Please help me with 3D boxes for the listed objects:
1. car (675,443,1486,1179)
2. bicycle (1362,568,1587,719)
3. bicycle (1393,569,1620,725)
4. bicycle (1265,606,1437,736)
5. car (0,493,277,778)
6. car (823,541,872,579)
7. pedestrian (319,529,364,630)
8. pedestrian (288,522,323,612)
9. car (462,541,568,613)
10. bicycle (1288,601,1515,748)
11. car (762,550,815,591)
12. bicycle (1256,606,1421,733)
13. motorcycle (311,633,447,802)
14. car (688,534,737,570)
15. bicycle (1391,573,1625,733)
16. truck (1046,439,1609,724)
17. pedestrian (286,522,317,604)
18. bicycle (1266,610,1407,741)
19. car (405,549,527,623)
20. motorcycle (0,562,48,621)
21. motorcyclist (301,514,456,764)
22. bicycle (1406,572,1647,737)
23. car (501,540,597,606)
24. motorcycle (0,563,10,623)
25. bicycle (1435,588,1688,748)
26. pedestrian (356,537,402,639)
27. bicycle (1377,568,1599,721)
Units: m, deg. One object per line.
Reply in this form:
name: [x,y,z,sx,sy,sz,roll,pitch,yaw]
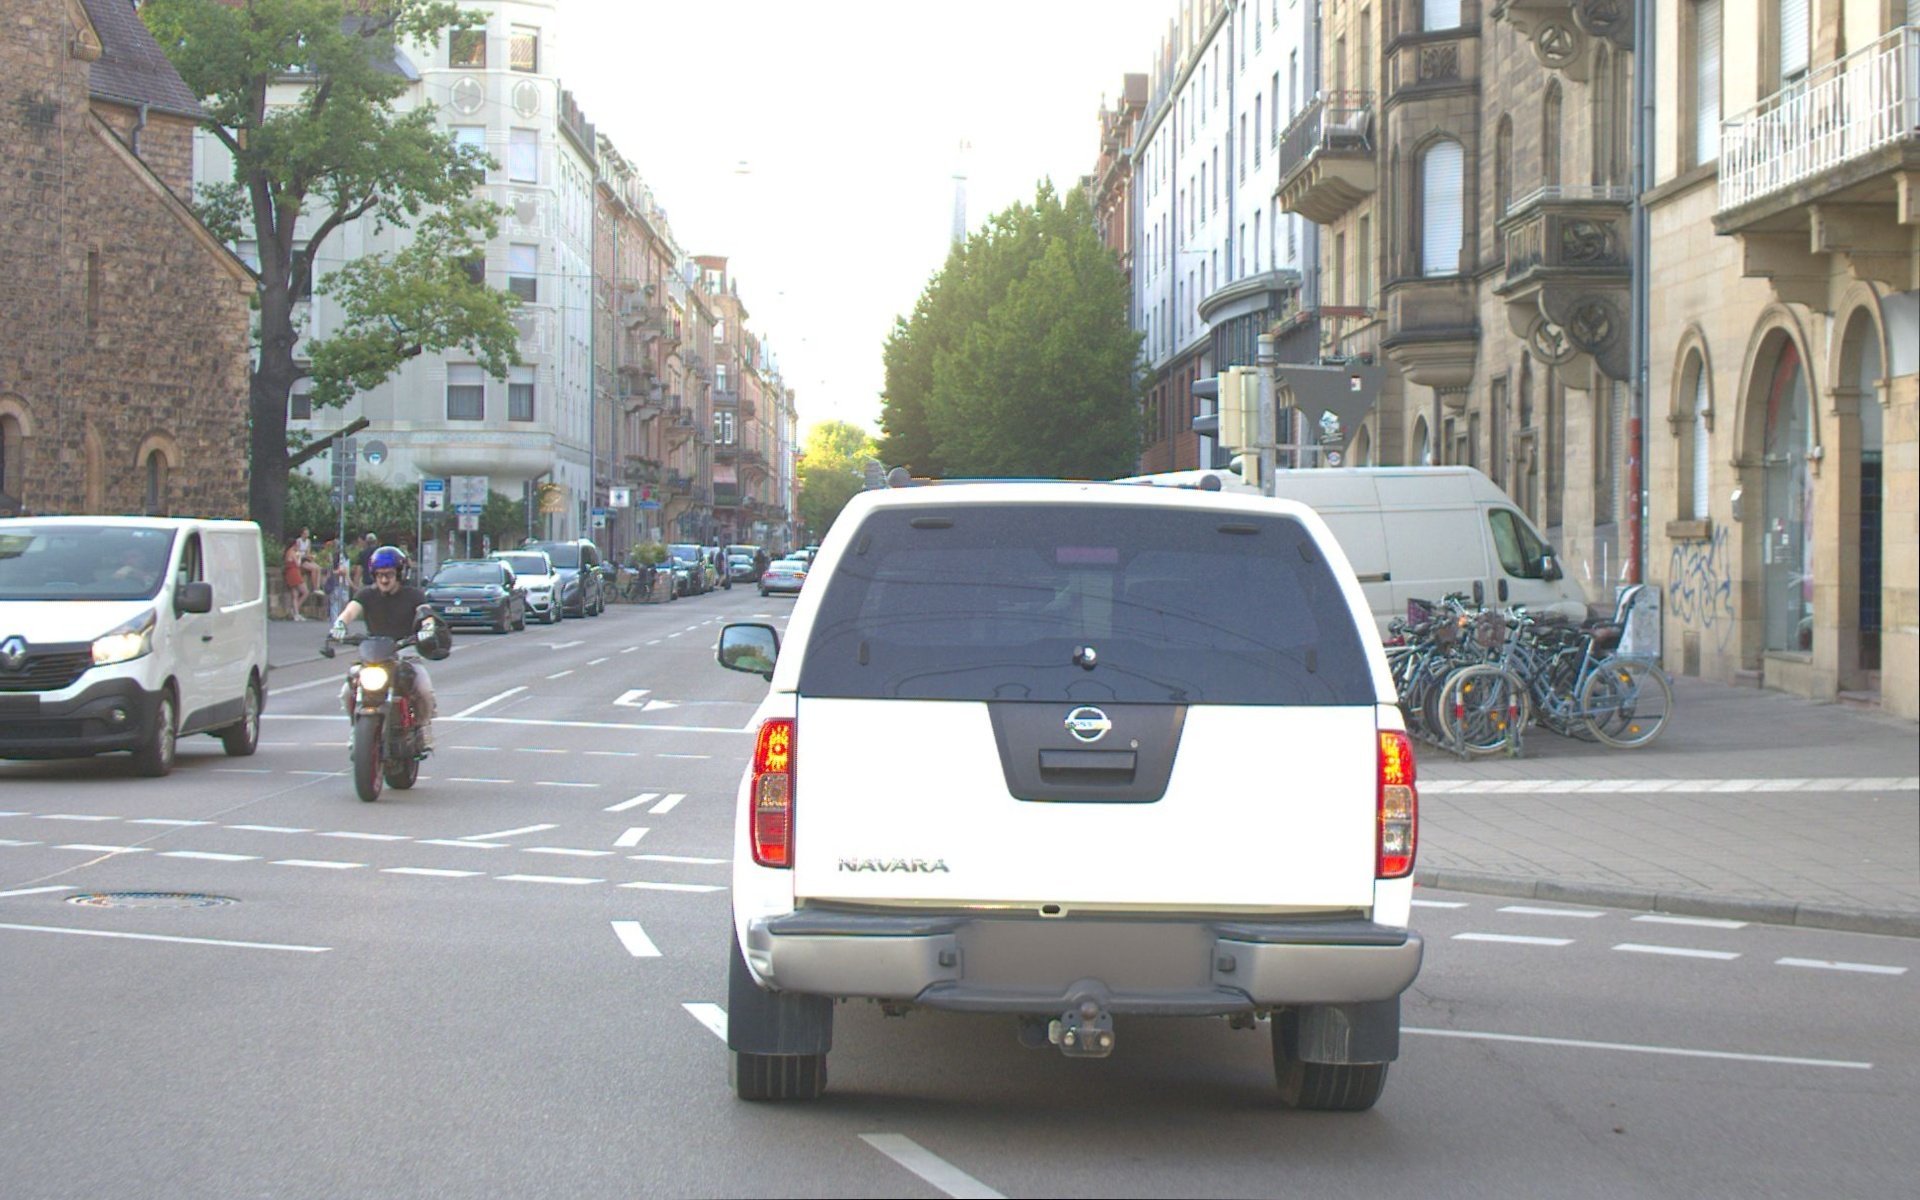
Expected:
car: [0.313,0.509,10.629,1.993,1.803,4.000,1,1,0]
bicycle: [4.567,0.384,30.572,1.855,1.233,0.531,-3,1,-1]
bicycle: [4.676,0.395,29.433,1.817,1.233,0.412,-3,1,-1]
bicycle: [3.311,0.600,29.141,1.371,1.021,0.317,-3,0,-1]
car: [-6.768,0.225,26.723,1.993,2.007,4.951,0,1,-1]
car: [-4.620,-1.633,141.545,1.858,1.524,4.000,1,1,0]
pedestrian: [-11.322,-0.376,62.953,0.642,1.849,0.562,1,0,-29]
pedestrian: [-13.514,-0.679,70.975,0.642,1.849,0.562,1,0,-14]
car: [-9.914,-0.521,76.864,1.858,1.524,4.000,1,1,0]
bicycle: [3.533,0.592,27.542,1.726,1.080,0.317,-3,0,-1]
car: [-6.684,-1.151,134.084,1.858,1.524,4.000,1,1,-1]
bicycle: [3.265,0.595,29.689,1.333,1.021,0.317,-3,0,-1]
motorcycle: [-3.897,0.767,23.174,0.599,1.040,1.946,1,1,-1]
car: [-10.759,-2.079,149.581,1.858,1.524,4.000,1,1,0]
bicycle: [4.571,0.434,28.710,1.817,1.233,0.478,-3,1,-1]
truck: [3.681,-0.192,33.626,5.657,2.556,2.287,0,1,-43]
pedestrian: [-13.759,-0.776,71.817,0.560,1.689,0.645,1,0,-7]
bicycle: [3.114,0.619,28.433,1.077,1.021,0.317,-3,0,-1]
car: [-9.835,-0.287,68.669,1.858,1.393,4.000,1,1,0]
motorcycle: [-16.840,-0.157,58.930,2.243,0.984,0.708,1,0,-5]
motorcyclist: [-3.932,0.254,23.311,0.874,1.639,0.963,1,0,-1]
bicycle: [4.606,0.438,27.998,1.817,1.233,0.488,-3,1,-1]
car: [-9.954,-0.660,83.446,1.858,1.524,4.000,1,1,0]
motorcycle: [-16.947,-0.138,56.904,2.243,0.984,0.708,1,0,-5]
bicycle: [4.727,0.526,27.056,1.817,1.146,0.636,-3,1,-1]
pedestrian: [-10.687,-0.226,63.246,0.642,1.849,0.562,1,0,-29]
bicycle: [4.608,0.388,30.040,1.817,1.233,0.410,-3,1,-1]
